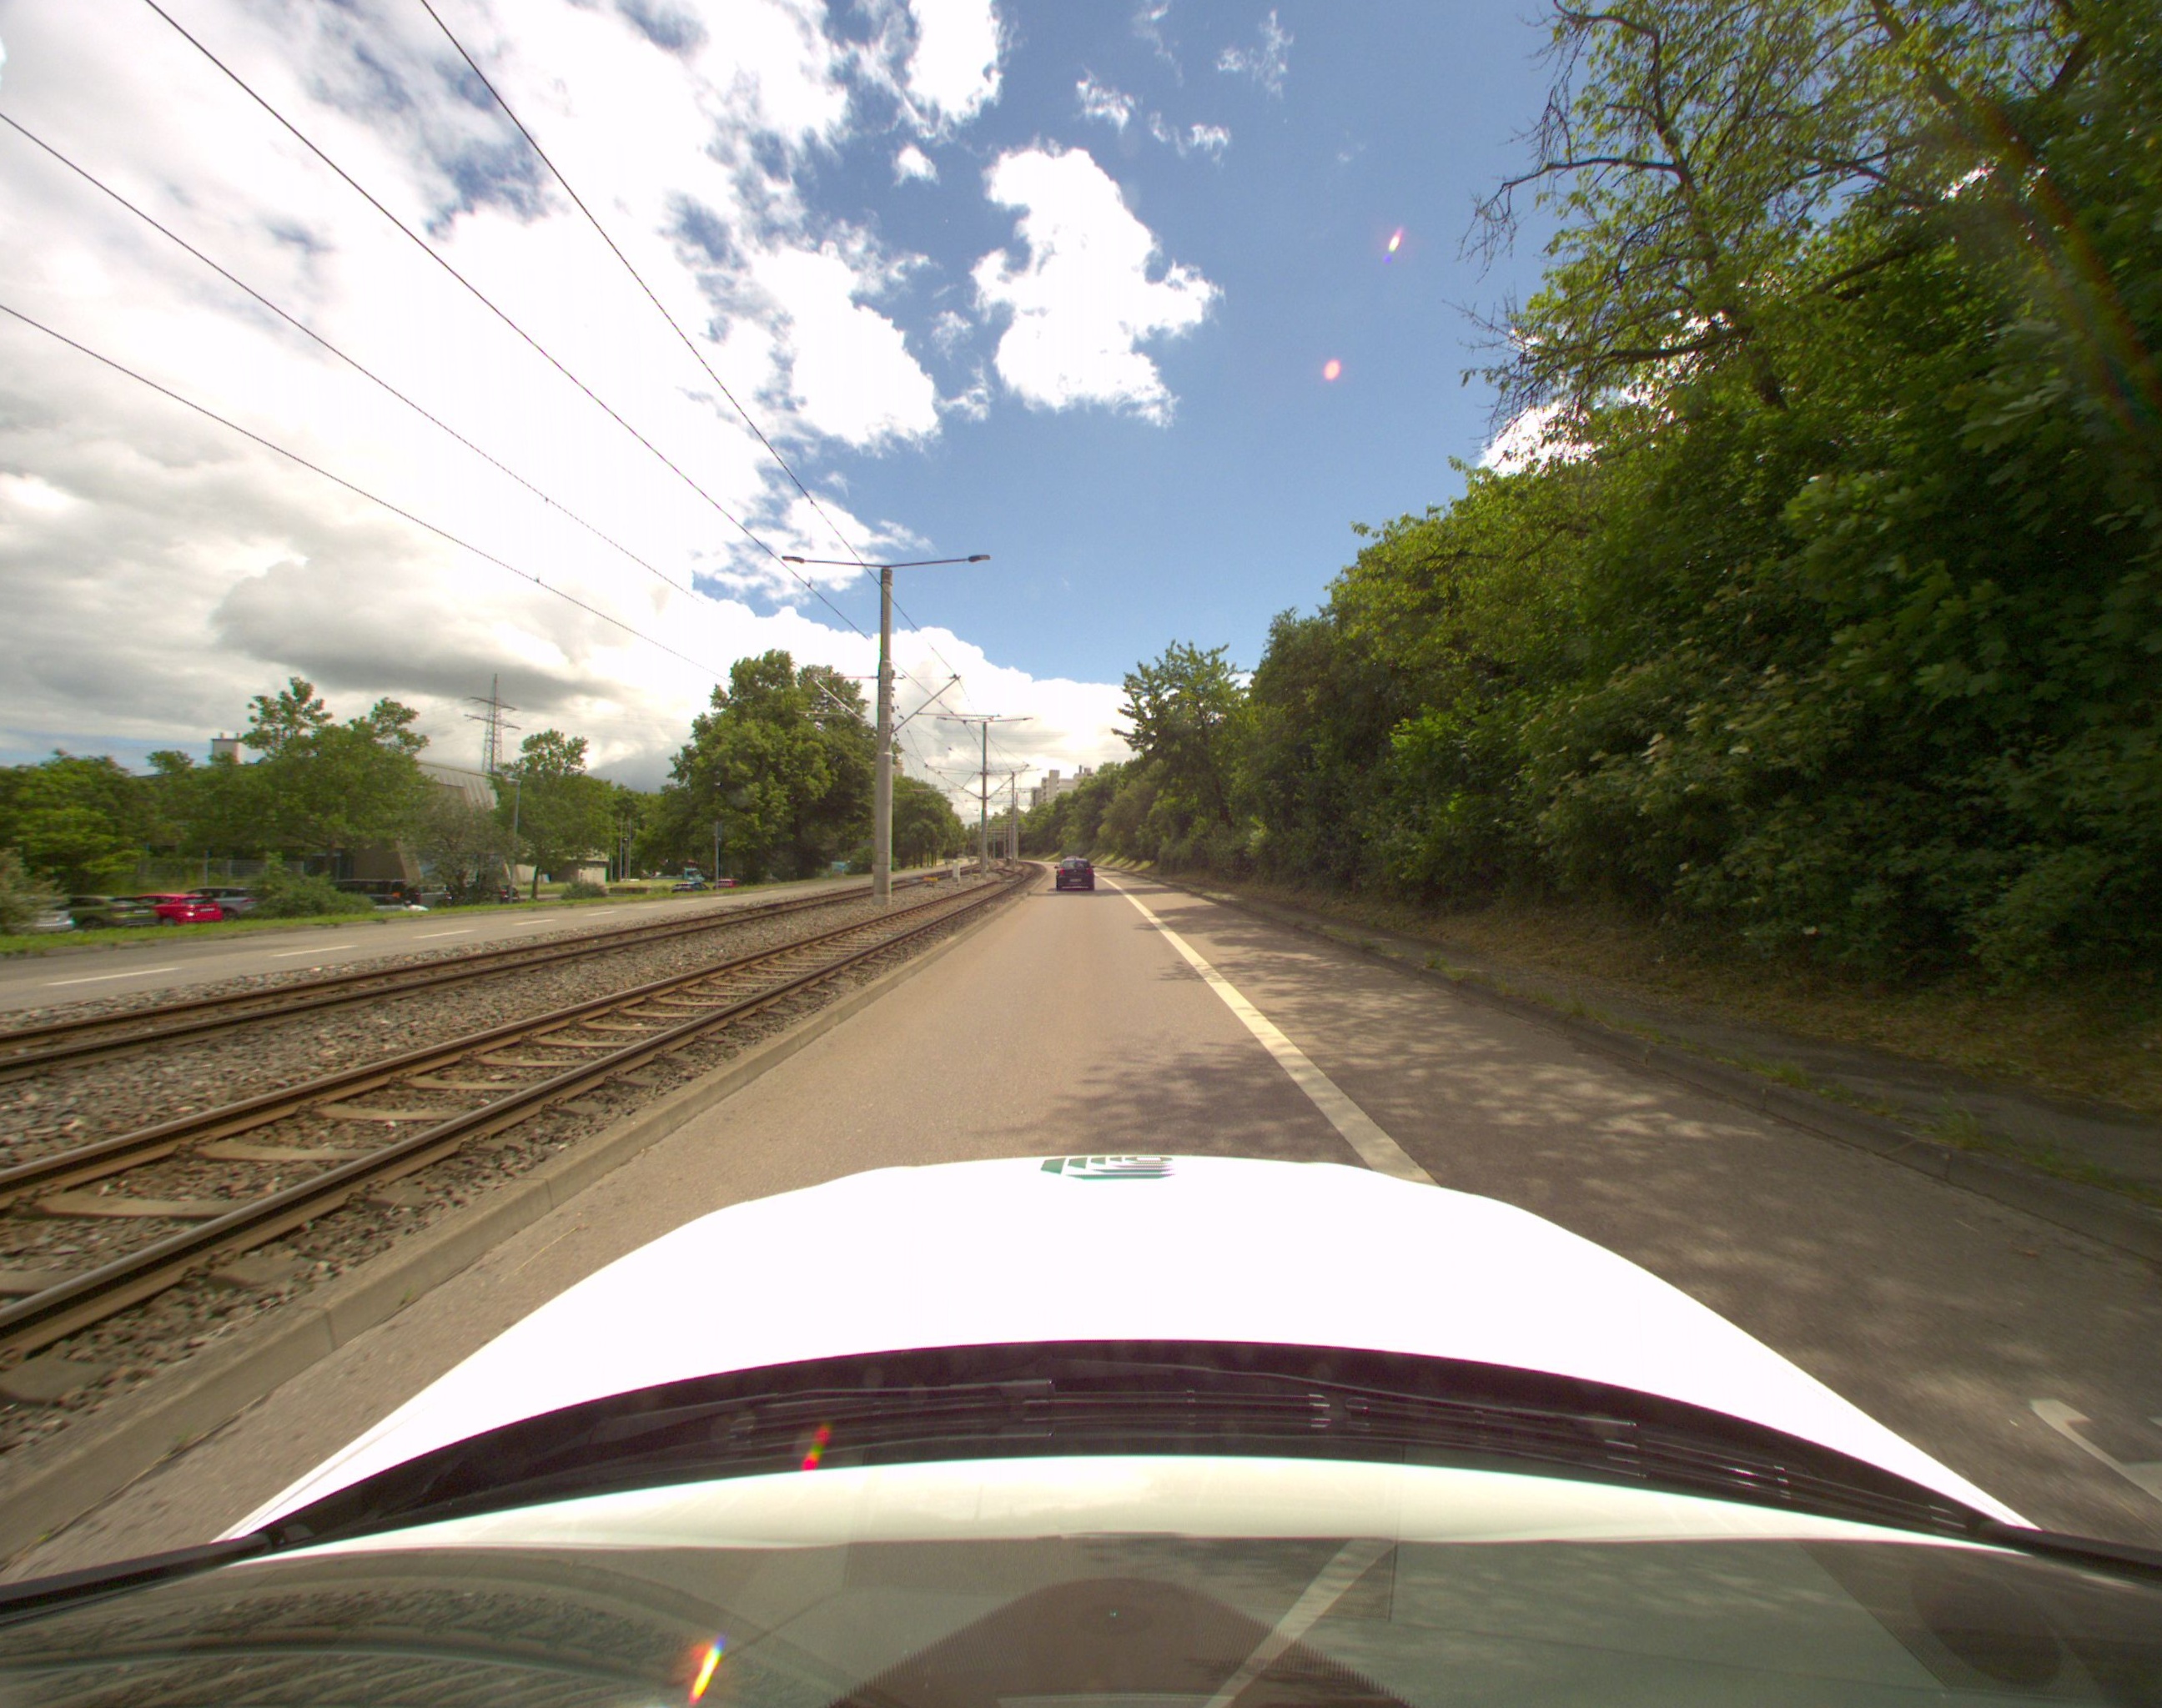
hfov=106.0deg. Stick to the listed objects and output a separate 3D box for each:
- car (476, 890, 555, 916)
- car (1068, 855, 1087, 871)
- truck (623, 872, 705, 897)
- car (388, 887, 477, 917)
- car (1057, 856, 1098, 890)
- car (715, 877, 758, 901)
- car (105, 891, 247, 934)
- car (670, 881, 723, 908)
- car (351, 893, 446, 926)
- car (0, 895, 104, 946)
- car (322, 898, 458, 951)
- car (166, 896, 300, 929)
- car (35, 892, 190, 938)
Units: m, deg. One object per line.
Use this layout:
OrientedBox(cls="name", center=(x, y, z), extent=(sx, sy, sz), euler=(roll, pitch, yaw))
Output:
OrientedBox(cls="car", center=(-37.021, 3.195, 53.336), extent=(3.965, 1.599, 1.862), euler=(0, -1, 7))
OrientedBox(cls="car", center=(-0.354, 0.902, 78.014), extent=(1.618, 1.443, 3.423), euler=(1, -2, 3))
OrientedBox(cls="truck", center=(-54.943, 3.990, 107.445), extent=(9.084, 2.695, 2.608), euler=(-2, -1, -8))
OrientedBox(cls="car", center=(-38.081, 2.813, 47.874), extent=(3.963, 1.599, 1.863), euler=(0, -1, 9))
OrientedBox(cls="car", center=(-0.111, 0.880, 37.370), extent=(1.702, 1.460, 3.961), euler=(1, -2, 2))
OrientedBox(cls="car", center=(-27.957, 2.840, 66.203), extent=(1.811, 1.772, 3.997), euler=(-2, 0, -1))
OrientedBox(cls="car", center=(-37.706, 2.417, 33.981), extent=(3.933, 1.580, 2.000), euler=(1, 0, 6))
OrientedBox(cls="car", center=(-27.757, 2.904, 58.964), extent=(1.809, 1.772, 4.002), euler=(-2, 0, 2))
OrientedBox(cls="car", center=(-36.302, 2.936, 43.371), extent=(3.574, 1.637, 1.956), euler=(0, -1, 9))
OrientedBox(cls="car", center=(-37.962, 2.353, 29.116), extent=(3.933, 1.580, 1.997), euler=(1, 0, 6))
OrientedBox(cls="car", center=(-27.722, 2.789, 32.872), extent=(1.983, 1.755, 4.068), euler=(1, 0, 0))
OrientedBox(cls="car", center=(-37.556, 2.552, 36.132), extent=(4.061, 1.252, 2.000), euler=(1, 0, 6))
OrientedBox(cls="car", center=(-37.774, 2.356, 31.824), extent=(3.933, 1.580, 2.000), euler=(1, 0, 6))
